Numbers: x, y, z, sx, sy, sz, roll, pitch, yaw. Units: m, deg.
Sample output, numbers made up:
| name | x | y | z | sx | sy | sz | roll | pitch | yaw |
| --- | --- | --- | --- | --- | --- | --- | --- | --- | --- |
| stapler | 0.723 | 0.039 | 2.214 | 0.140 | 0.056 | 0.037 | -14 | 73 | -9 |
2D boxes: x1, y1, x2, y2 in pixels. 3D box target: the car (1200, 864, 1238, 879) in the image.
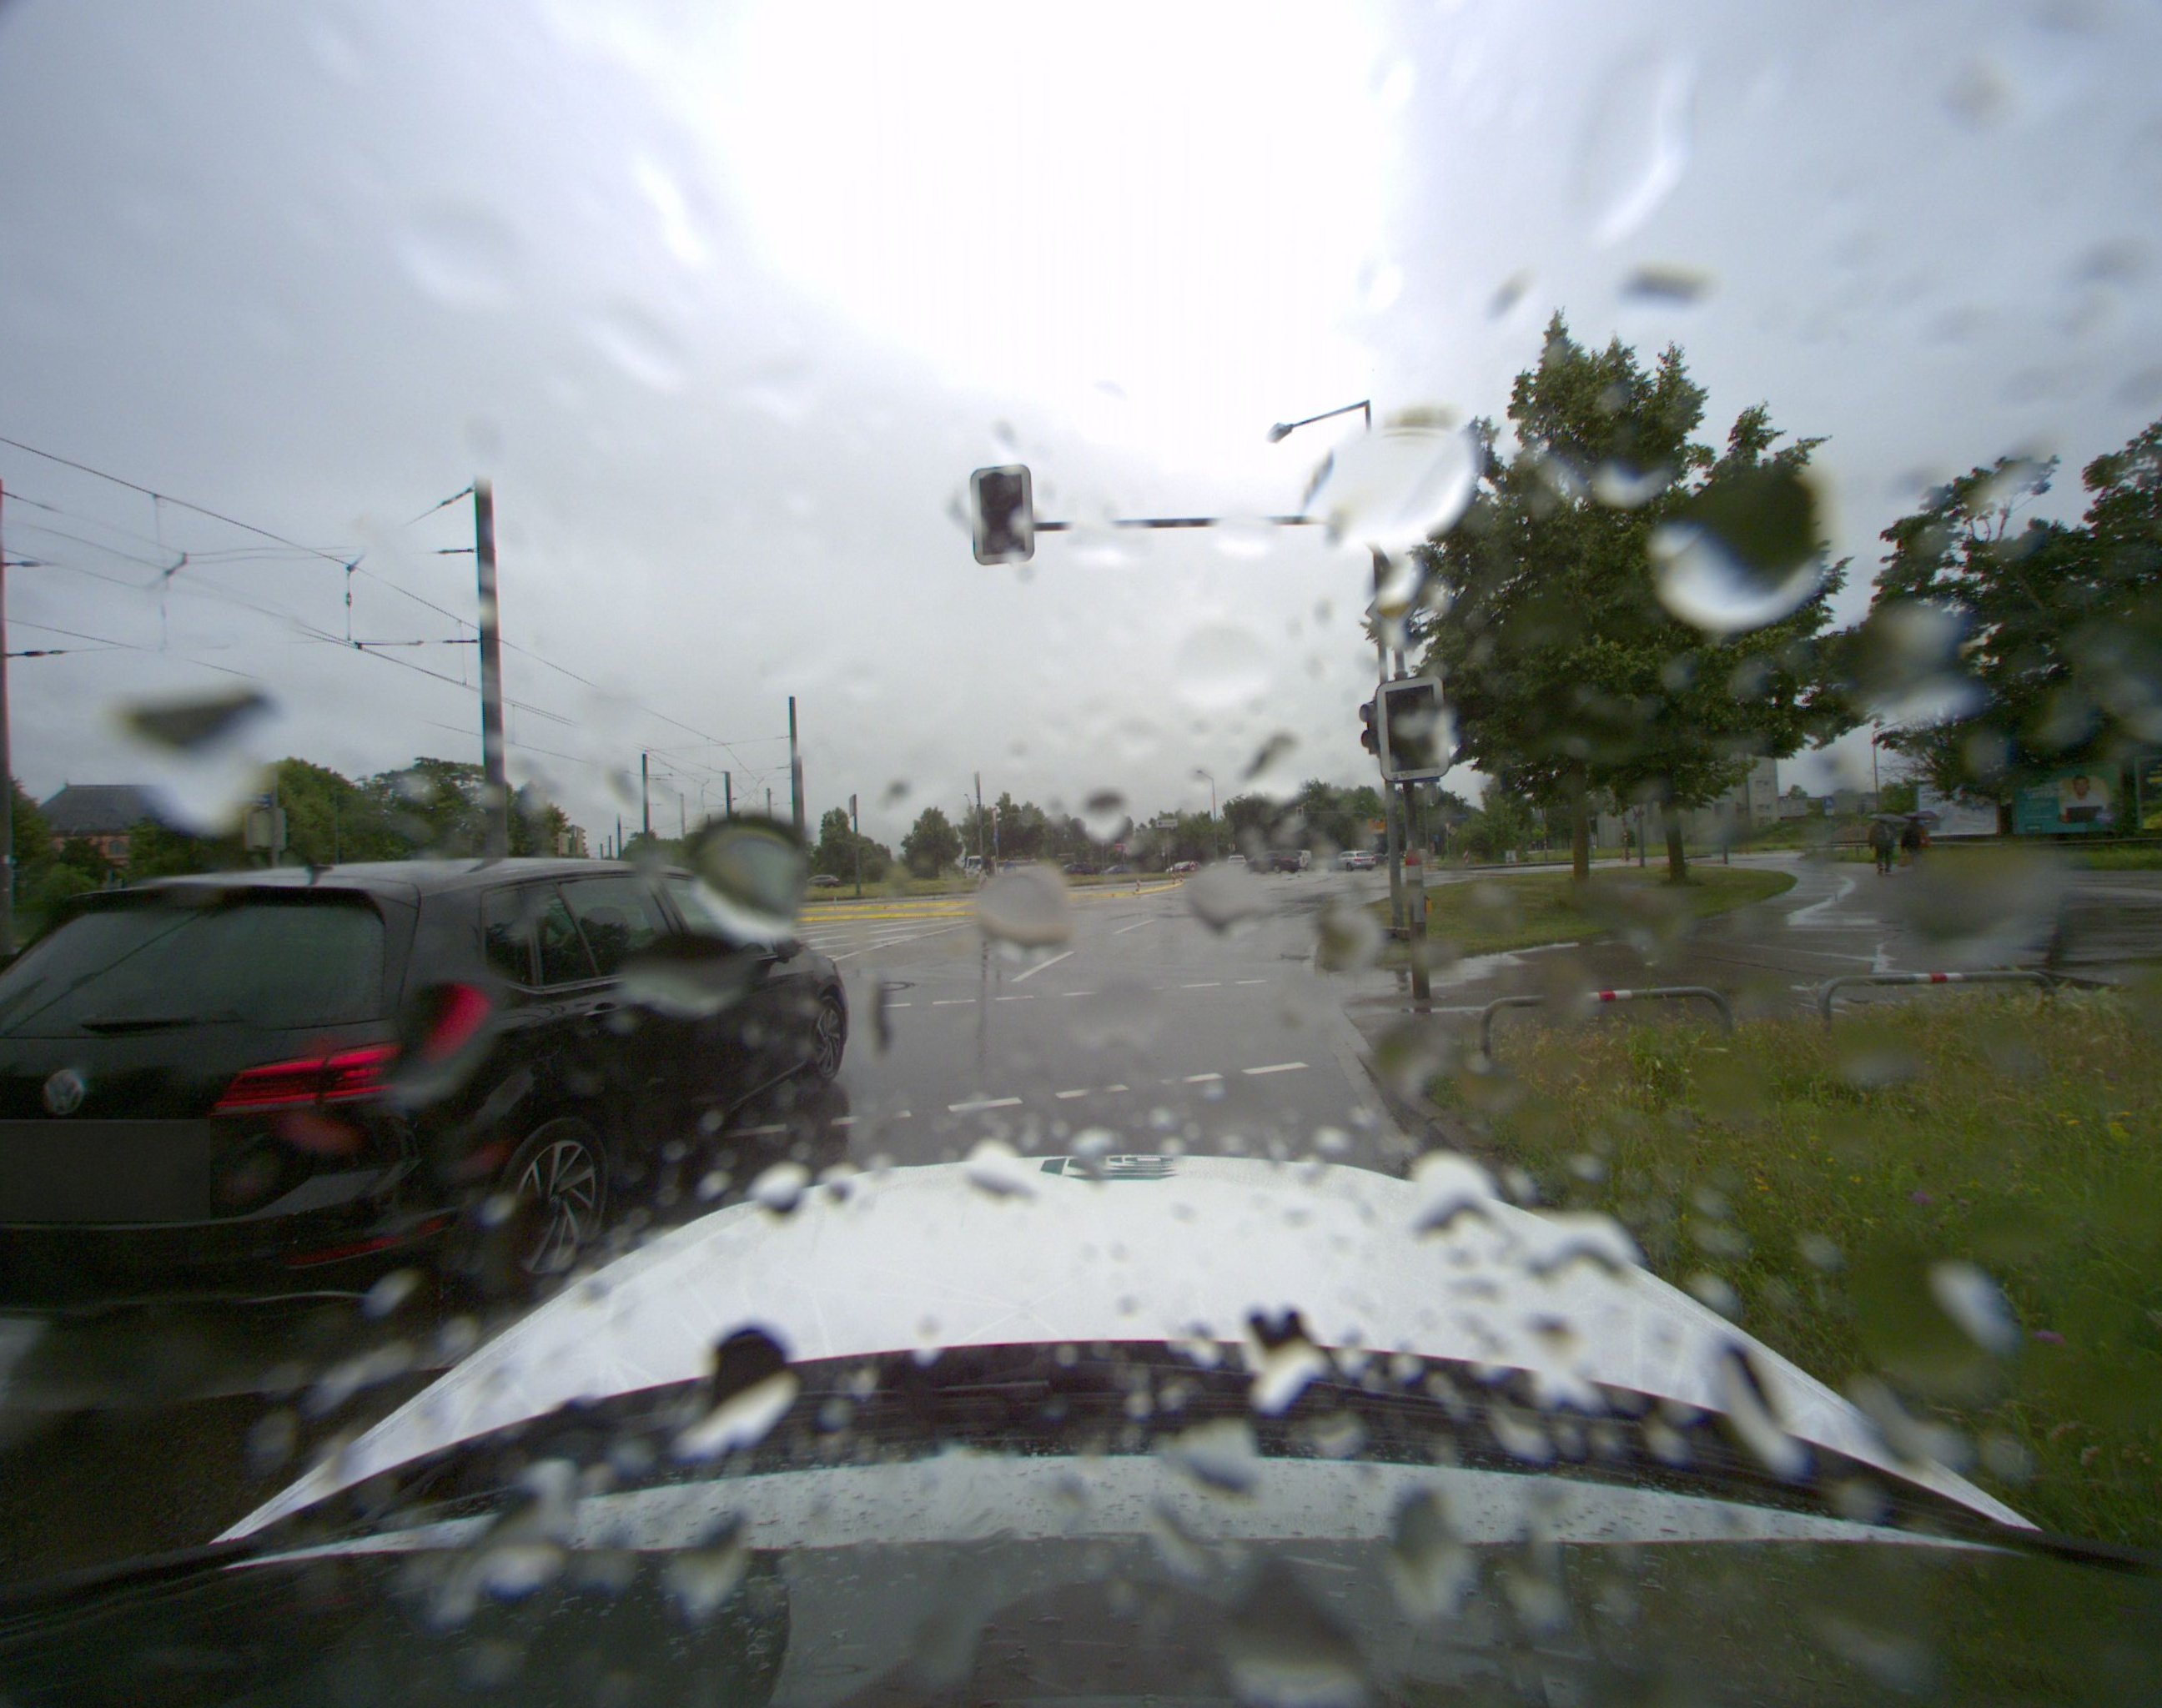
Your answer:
| name | x | y | z | sx | sy | sz | roll | pitch | yaw |
| --- | --- | --- | --- | --- | --- | --- | --- | --- | --- |
| car | 16.021 | 2.056 | 94.809 | 3.996 | 1.648 | 1.779 | 0 | -1 | -17 |

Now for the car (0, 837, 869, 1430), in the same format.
| name | x | y | z | sx | sy | sz | roll | pitch | yaw |
| --- | --- | --- | --- | --- | --- | --- | --- | --- | --- |
| car | -2.647 | 0.759 | 4.283 | 1.776 | 1.517 | 4.334 | 0 | -1 | 2 |

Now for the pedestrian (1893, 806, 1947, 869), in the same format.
| name | x | y | z | sx | sy | sz | roll | pitch | yaw |
| --- | --- | --- | --- | --- | --- | --- | --- | --- | --- |
| pedestrian | 24.099 | -0.454 | 23.408 | 0.811 | 1.784 | 0.914 | 0 | -2 | -33 |

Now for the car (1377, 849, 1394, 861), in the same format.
| name | x | y | z | sx | sy | sz | roll | pitch | yaw |
| --- | --- | --- | --- | --- | --- | --- | --- | --- | --- |
| car | 53.373 | 0.246 | 142.616 | 1.771 | 2.014 | 3.696 | -1 | -1 | 39 |

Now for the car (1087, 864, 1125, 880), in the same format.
| name | x | y | z | sx | sy | sz | roll | pitch | yaw |
| --- | --- | --- | --- | --- | --- | --- | --- | --- | --- |
| car | 2.801 | 2.011 | 91.454 | 3.991 | 1.648 | 1.781 | 0 | -1 | -13 |

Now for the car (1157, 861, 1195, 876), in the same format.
| name | x | y | z | sx | sy | sz | roll | pitch | yaw |
| --- | --- | --- | --- | --- | --- | --- | --- | --- | --- |
| car | 11.358 | 1.773 | 97.452 | 4.892 | 1.744 | 1.756 | 1 | -1 | -42 |

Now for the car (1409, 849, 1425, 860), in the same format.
| name | x | y | z | sx | sy | sz | roll | pitch | yaw |
| --- | --- | --- | --- | --- | --- | --- | --- | --- | --- |
| car | 63.513 | 0.024 | 153.806 | 1.771 | 2.014 | 3.696 | -1 | -1 | 39 |

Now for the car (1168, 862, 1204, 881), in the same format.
| name | x | y | z | sx | sy | sz | roll | pitch | yaw |
| --- | --- | --- | --- | --- | --- | --- | --- | --- | --- |
| car | 11.306 | 1.882 | 87.638 | 4.021 | 2.014 | 1.657 | 1 | -2 | -41 |

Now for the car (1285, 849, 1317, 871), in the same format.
| name | x | y | z | sx | sy | sz | roll | pitch | yaw |
| --- | --- | --- | --- | --- | --- | --- | --- | --- | --- |
| car | 21.258 | 0.601 | 78.703 | 1.766 | 2.036 | 4.025 | -1 | -1 | 33 |

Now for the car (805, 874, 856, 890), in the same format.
| name | x | y | z | sx | sy | sz | roll | pitch | yaw |
| --- | --- | --- | --- | --- | --- | --- | --- | --- | --- |
| car | -24.080 | 2.664 | 78.184 | 4.553 | 1.492 | 1.599 | 0 | -1 | -23 |

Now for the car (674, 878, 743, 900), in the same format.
| name | x | y | z | sx | sy | sz | roll | pitch | yaw |
| --- | --- | --- | --- | --- | --- | --- | --- | --- | --- |
| car | -31.116 | 2.894 | 68.108 | 4.893 | 1.744 | 1.756 | 1 | -2 | -44 |

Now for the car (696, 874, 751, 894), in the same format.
| name | x | y | z | sx | sy | sz | roll | pitch | yaw |
| --- | --- | --- | --- | --- | --- | --- | --- | --- | --- |
| car | -32.193 | 2.664 | 73.323 | 4.188 | 1.724 | 1.813 | 1 | -1 | -42 |

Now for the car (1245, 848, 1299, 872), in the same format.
| name | x | y | z | sx | sy | sz | roll | pitch | yaw |
| --- | --- | --- | --- | --- | --- | --- | --- | --- | --- |
| car | 13.914 | 0.451 | 59.457 | 1.792 | 1.648 | 3.966 | 0 | -1 | -25 |

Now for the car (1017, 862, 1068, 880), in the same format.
| name | x | y | z | sx | sy | sz | roll | pitch | yaw |
| --- | --- | --- | --- | --- | --- | --- | --- | --- | --- |
| car | -3.912 | 1.745 | 83.141 | 4.871 | 1.744 | 1.764 | 0 | -1 | -23 |

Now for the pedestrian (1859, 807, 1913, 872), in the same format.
| name | x | y | z | sx | sy | sz | roll | pitch | yaw |
| --- | --- | --- | --- | --- | --- | --- | --- | --- | --- |
| pedestrian | 22.872 | -0.395 | 23.147 | 0.811 | 1.784 | 0.914 | 0 | -2 | -33 |

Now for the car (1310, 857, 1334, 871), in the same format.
| name | x | y | z | sx | sy | sz | roll | pitch | yaw |
| --- | --- | --- | --- | --- | --- | --- | --- | --- | --- |
| car | 27.160 | 1.127 | 91.639 | 1.672 | 1.492 | 3.272 | -3 | -1 | 33 |

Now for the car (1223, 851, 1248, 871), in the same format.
| name | x | y | z | sx | sy | sz | roll | pitch | yaw |
| --- | --- | --- | --- | --- | --- | --- | --- | --- | --- |
| car | 13.331 | 0.645 | 70.441 | 1.673 | 1.648 | 3.952 | -1 | -1 | 5 |

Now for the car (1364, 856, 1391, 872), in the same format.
| name | x | y | z | sx | sy | sz | roll | pitch | yaw |
| --- | --- | --- | --- | --- | --- | --- | --- | --- | --- |
| car | 31.590 | 1.066 | 86.696 | 1.672 | 1.492 | 3.272 | -3 | -1 | 39 |

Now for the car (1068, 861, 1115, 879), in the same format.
| name | x | y | z | sx | sy | sz | roll | pitch | yaw |
| --- | --- | --- | --- | --- | --- | --- | --- | --- | --- |
| car | 1.089 | 1.554 | 80.483 | 4.894 | 1.744 | 1.756 | 1 | -2 | -45 |

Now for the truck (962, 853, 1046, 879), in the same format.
| name | x | y | z | sx | sy | sz | roll | pitch | yaw |
| --- | --- | --- | --- | --- | --- | --- | --- | --- | --- |
| truck | -8.194 | 1.261 | 86.583 | 8.776 | 2.711 | 1.991 | 0 | -1 | -13 |

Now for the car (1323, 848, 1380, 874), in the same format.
| name | x | y | z | sx | sy | sz | roll | pitch | yaw |
| --- | --- | --- | --- | --- | --- | --- | --- | --- | --- |
| car | 19.769 | 0.554 | 59.803 | 1.784 | 1.811 | 4.818 | 0 | -1 | -12 |
